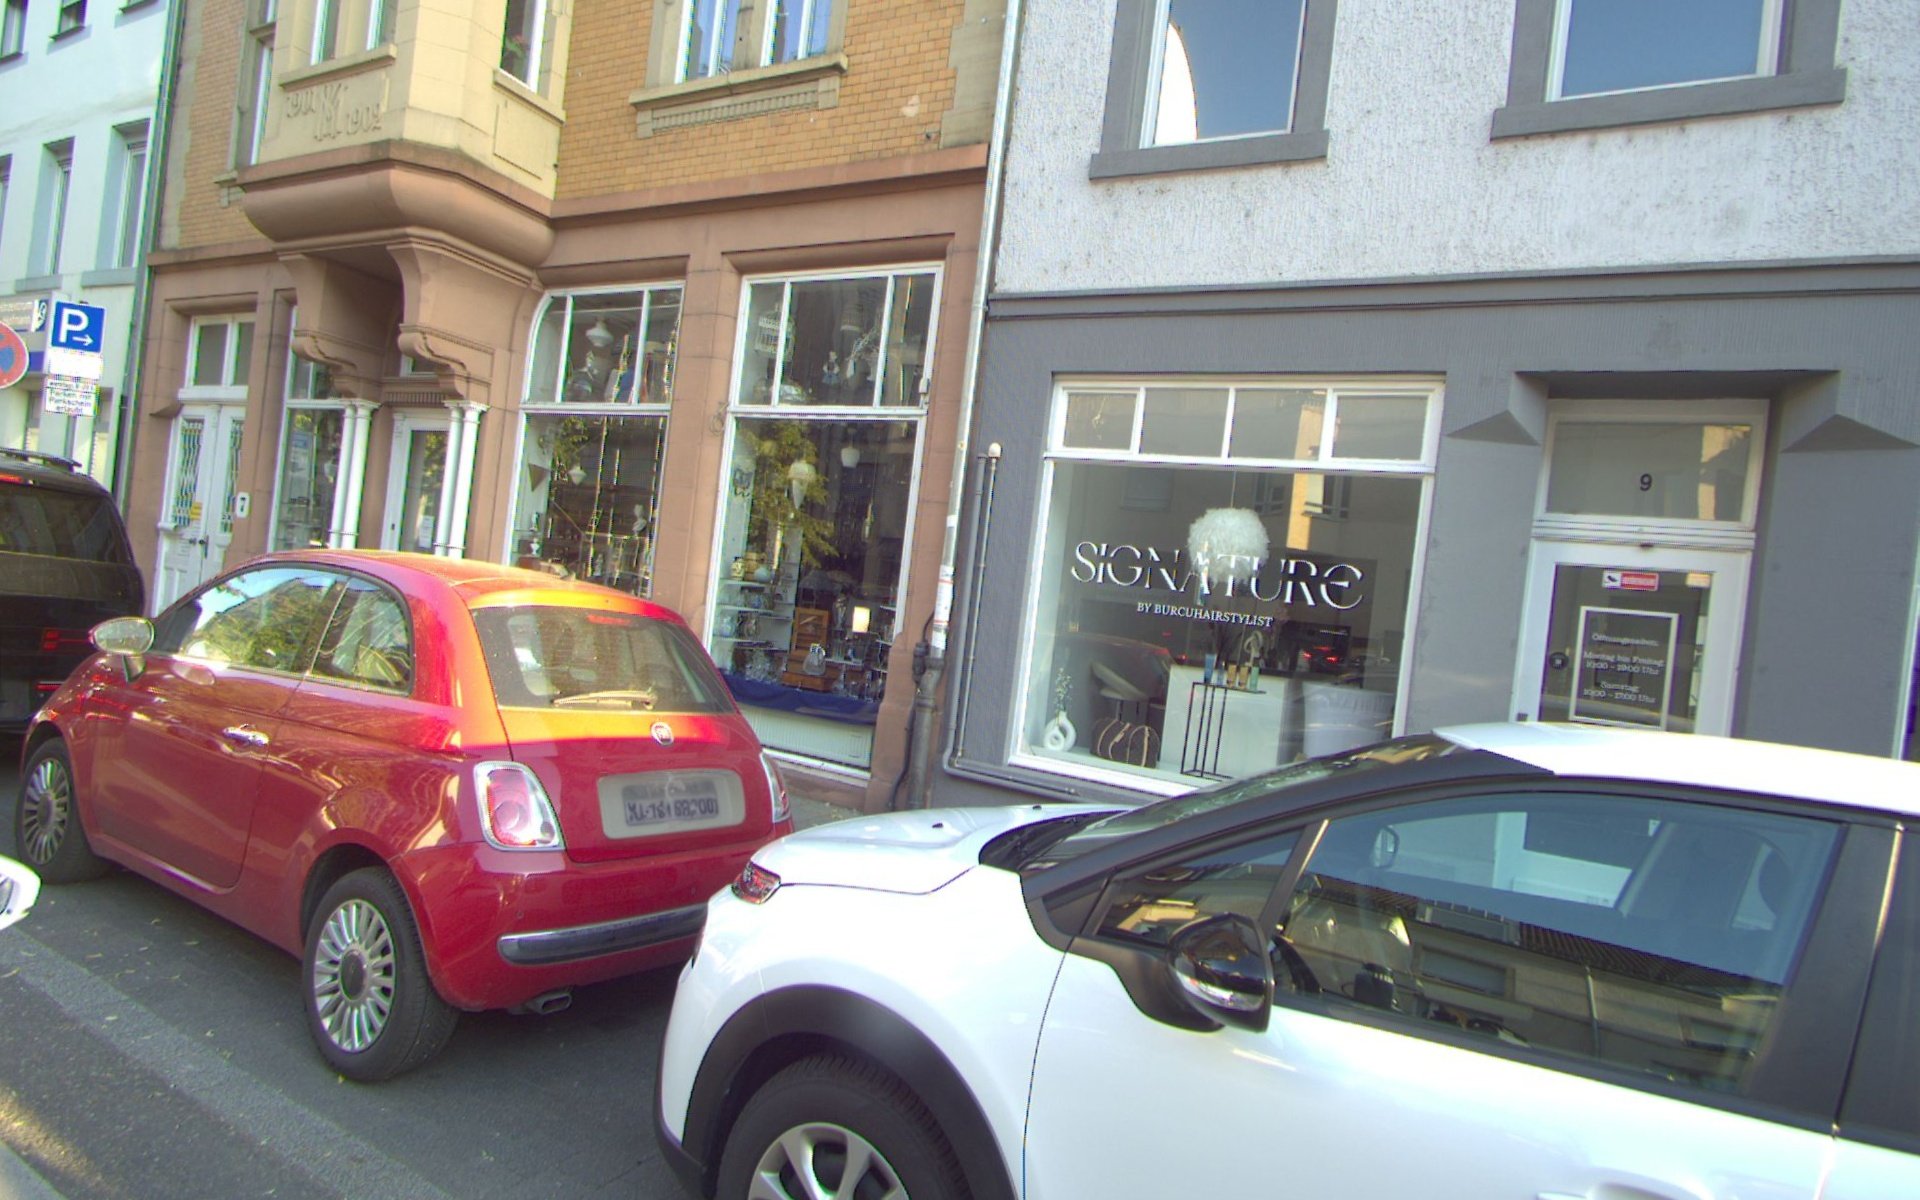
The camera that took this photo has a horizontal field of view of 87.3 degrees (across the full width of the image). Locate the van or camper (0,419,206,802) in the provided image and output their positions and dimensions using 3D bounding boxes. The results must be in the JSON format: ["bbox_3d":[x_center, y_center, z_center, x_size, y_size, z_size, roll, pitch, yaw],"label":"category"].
[{"bbox_3d":[-6.622,-0.178,5.554,4.380,1.829,1.895,7,-1,24],"label":"van or camper"}]

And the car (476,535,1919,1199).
[{"bbox_3d":[1.057,0.909,2.059,3.868,1.591,1.666,6,-2,30],"label":"car"}]

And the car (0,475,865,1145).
[{"bbox_3d":[-2.279,0.496,4.067,3.364,1.588,1.529,7,-1,31],"label":"car"}]
